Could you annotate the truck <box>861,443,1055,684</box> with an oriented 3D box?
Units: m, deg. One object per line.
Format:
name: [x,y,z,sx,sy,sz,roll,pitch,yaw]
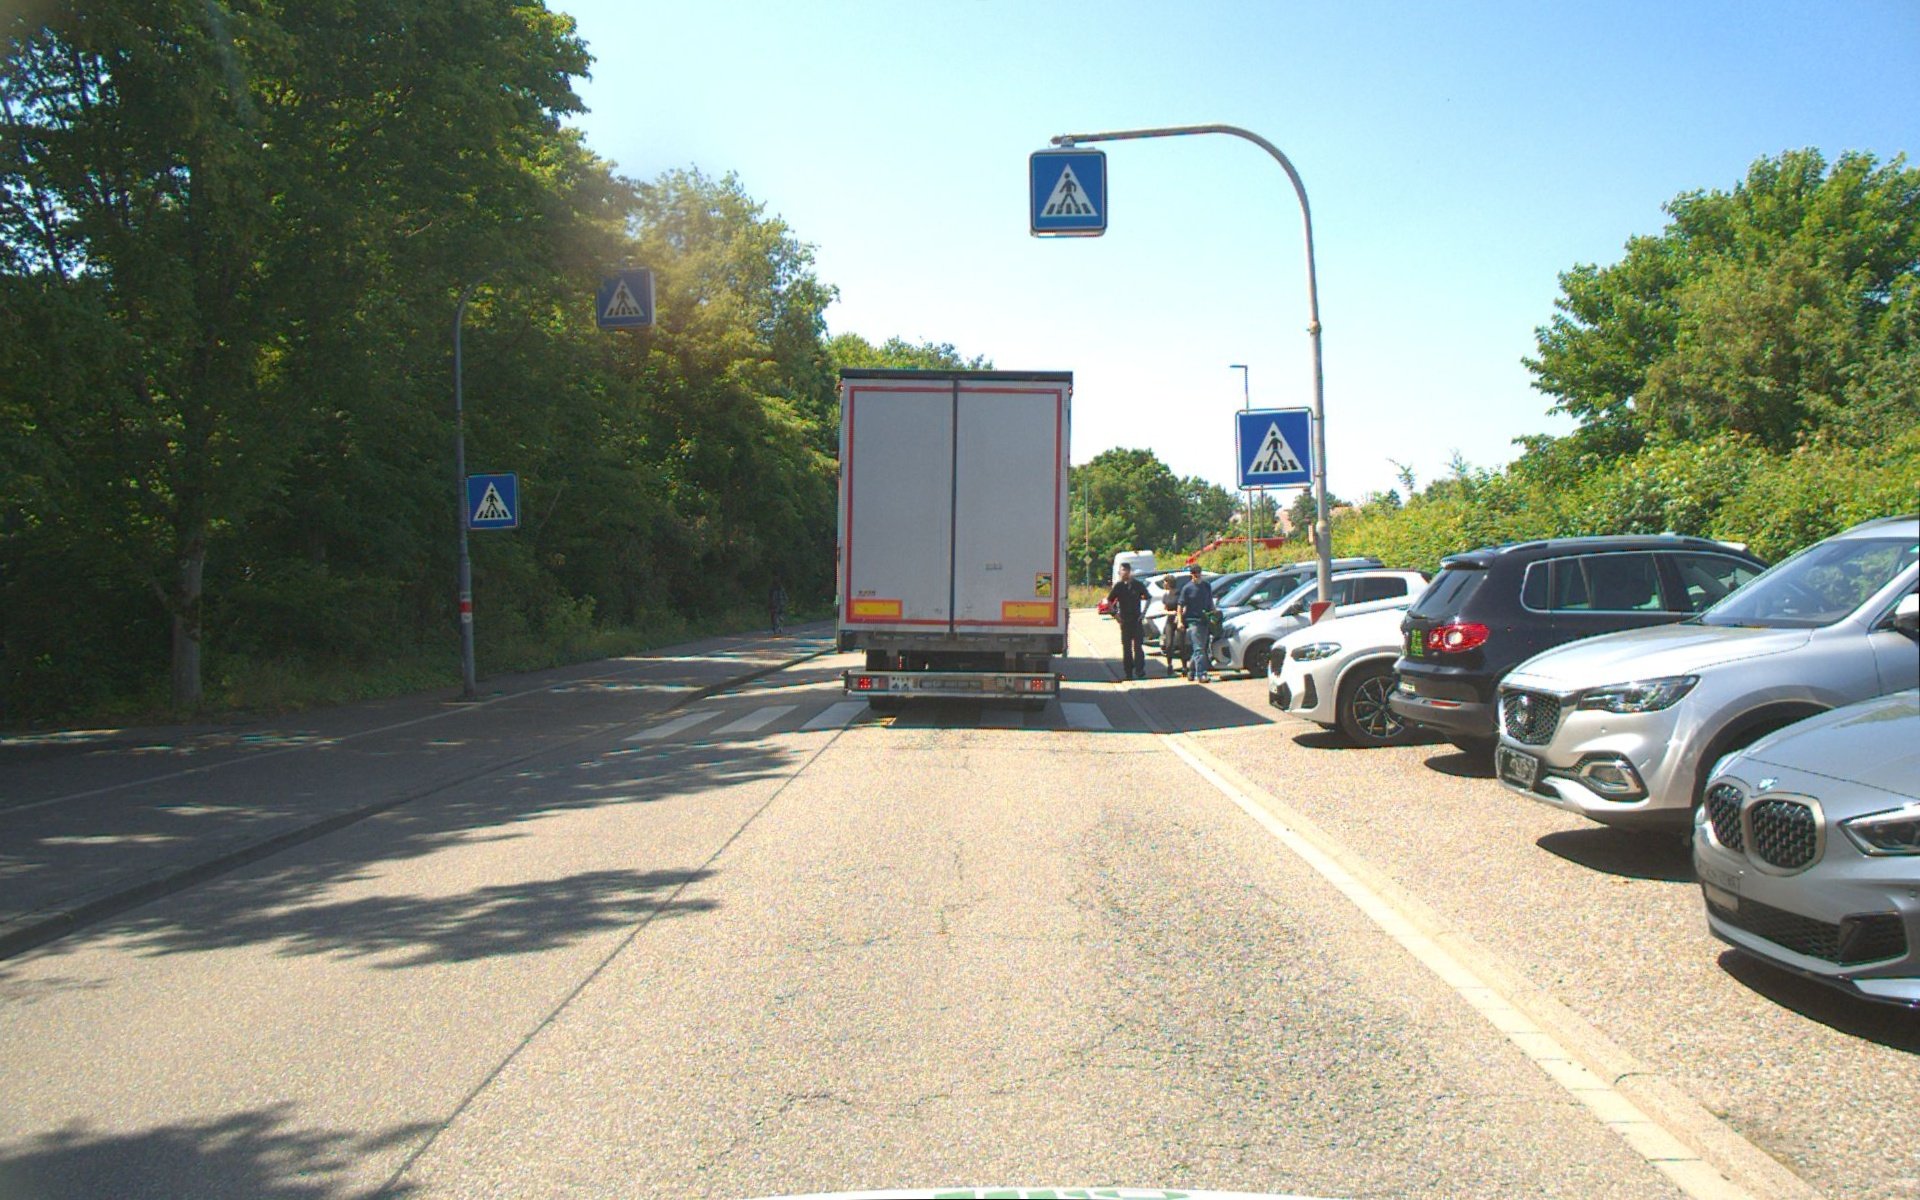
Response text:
truck: [0.053,-0.641,29.657,3.049,3.790,6.415,-1,1,1]

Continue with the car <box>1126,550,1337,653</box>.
car: [5.601,-0.002,34.351,3.882,1.696,1.811,-5,3,-7]

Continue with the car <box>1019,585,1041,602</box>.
car: [7.015,-0.680,165.086,1.743,1.512,4.004,-2,1,9]

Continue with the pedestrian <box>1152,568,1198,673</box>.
pedestrian: [3.472,0.321,26.789,0.577,1.642,0.745,-5,0,6]

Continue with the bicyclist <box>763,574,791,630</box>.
bicyclist: [-5.915,0.053,53.482,0.701,1.789,0.796,-2,0,4]

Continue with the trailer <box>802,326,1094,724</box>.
trailer: [-0.057,-0.861,23.263,3.048,4.174,11.538,-1,1,1]

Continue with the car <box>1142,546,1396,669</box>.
car: [5.296,0.120,28.655,3.881,1.697,1.811,-5,0,-5]

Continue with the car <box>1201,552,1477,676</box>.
car: [5.806,0.202,25.751,3.874,1.505,1.815,-5,0,5]

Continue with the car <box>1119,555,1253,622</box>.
car: [7.221,-0.363,52.999,3.878,1.796,1.812,-5,1,-3]

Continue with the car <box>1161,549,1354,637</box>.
car: [6.764,-0.165,37.763,3.882,1.613,1.811,-5,0,-7]

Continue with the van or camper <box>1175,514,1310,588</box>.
van or camper: [15.258,-2.616,89.159,6.895,3.649,2.775,-2,1,14]

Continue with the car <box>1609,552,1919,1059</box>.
car: [4.692,0.512,5.878,4.054,1.464,1.811,-3,1,-8]

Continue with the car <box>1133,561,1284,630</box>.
car: [7.009,-0.146,46.938,3.878,1.646,1.812,-4,1,-3]

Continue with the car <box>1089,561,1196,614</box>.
car: [7.257,-0.497,65.954,3.879,1.697,1.812,-5,0,-3]

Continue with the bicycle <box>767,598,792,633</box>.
bicycle: [-5.846,0.492,53.668,0.444,1.065,2.204,-2,1,3]

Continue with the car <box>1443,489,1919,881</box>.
car: [4.935,0.292,8.639,4.152,1.682,1.898,-4,0,-3]

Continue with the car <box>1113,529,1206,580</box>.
car: [8.870,-2.003,73.652,3.875,1.829,1.814,-5,-2,3]

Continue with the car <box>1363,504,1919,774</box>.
car: [5.394,0.250,12.742,4.041,1.686,1.887,-4,1,0]

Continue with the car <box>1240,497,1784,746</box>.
car: [5.016,0.176,15.443,4.318,1.727,1.876,-6,0,-2]

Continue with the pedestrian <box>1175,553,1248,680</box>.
pedestrian: [3.851,0.243,25.403,0.888,1.829,0.936,-5,0,5]

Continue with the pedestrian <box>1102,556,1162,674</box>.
pedestrian: [2.850,0.242,27.421,0.804,1.866,0.793,-5,0,5]
